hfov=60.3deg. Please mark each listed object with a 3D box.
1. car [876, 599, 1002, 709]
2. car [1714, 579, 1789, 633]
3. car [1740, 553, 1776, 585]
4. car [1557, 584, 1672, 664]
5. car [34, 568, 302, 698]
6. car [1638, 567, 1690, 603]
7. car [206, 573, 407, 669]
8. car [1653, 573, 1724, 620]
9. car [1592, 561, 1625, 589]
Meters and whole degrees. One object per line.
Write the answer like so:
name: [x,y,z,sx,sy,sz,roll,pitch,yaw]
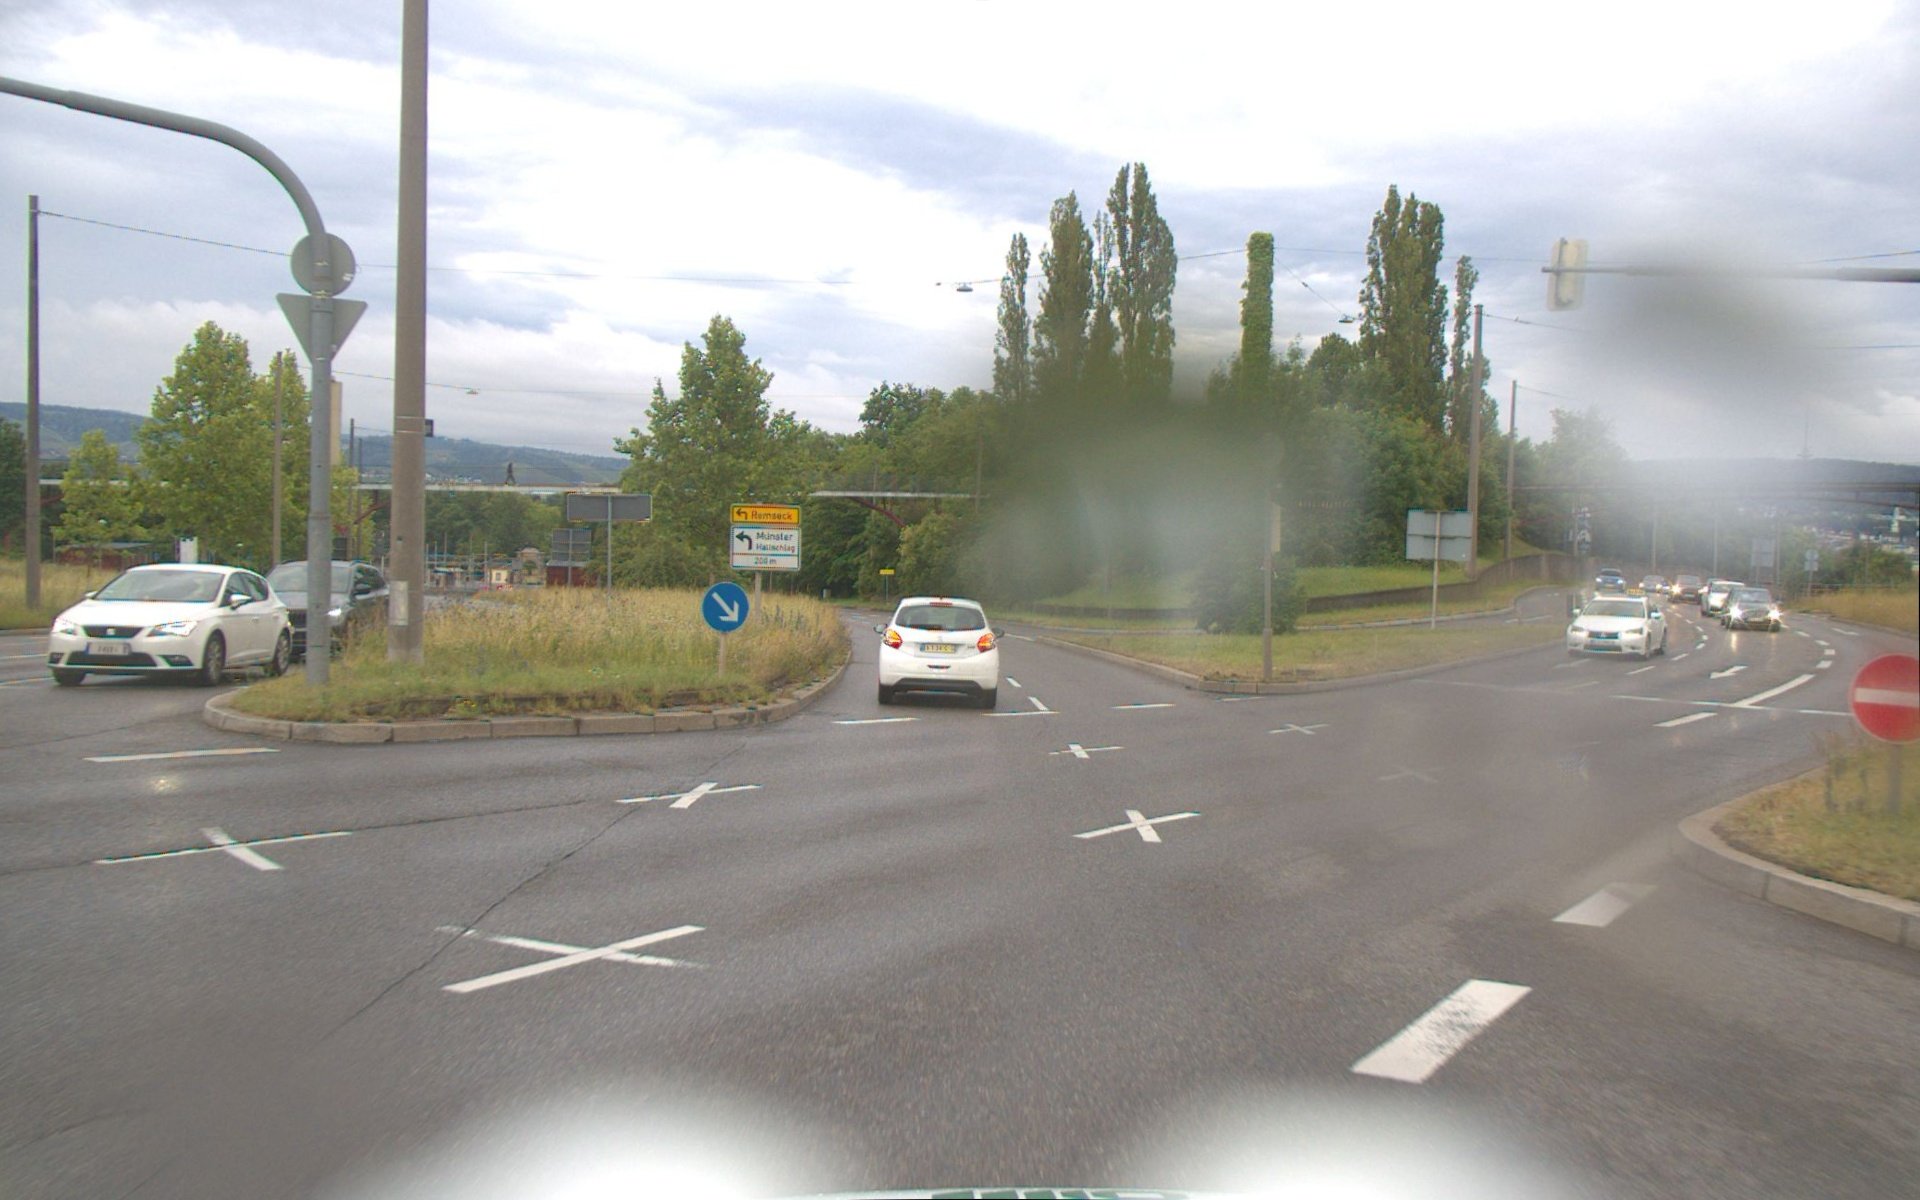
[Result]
car: [-0.311,0.739,23.930,1.674,1.465,3.689,0,-1,-1]
car: [28.092,0.173,58.630,1.957,1.645,4.363,4,4,30]
car: [57.524,-2.273,119.232,2.033,2.119,4.371,3,4,23]
car: [16.116,0.527,40.619,1.957,1.645,3.992,4,4,30]
car: [-9.595,0.393,20.405,1.704,1.397,3.994,2,-1,-6]
car: [37.638,-0.823,88.513,1.951,1.645,4.376,3,3,15]
car: [-10.586,0.285,27.119,1.857,1.347,3.998,2,2,-3]
car: [29.911,-0.181,68.040,1.951,1.645,4.376,3,3,15]
car: [43.203,-1.680,110.151,1.841,1.682,4.125,3,4,23]
